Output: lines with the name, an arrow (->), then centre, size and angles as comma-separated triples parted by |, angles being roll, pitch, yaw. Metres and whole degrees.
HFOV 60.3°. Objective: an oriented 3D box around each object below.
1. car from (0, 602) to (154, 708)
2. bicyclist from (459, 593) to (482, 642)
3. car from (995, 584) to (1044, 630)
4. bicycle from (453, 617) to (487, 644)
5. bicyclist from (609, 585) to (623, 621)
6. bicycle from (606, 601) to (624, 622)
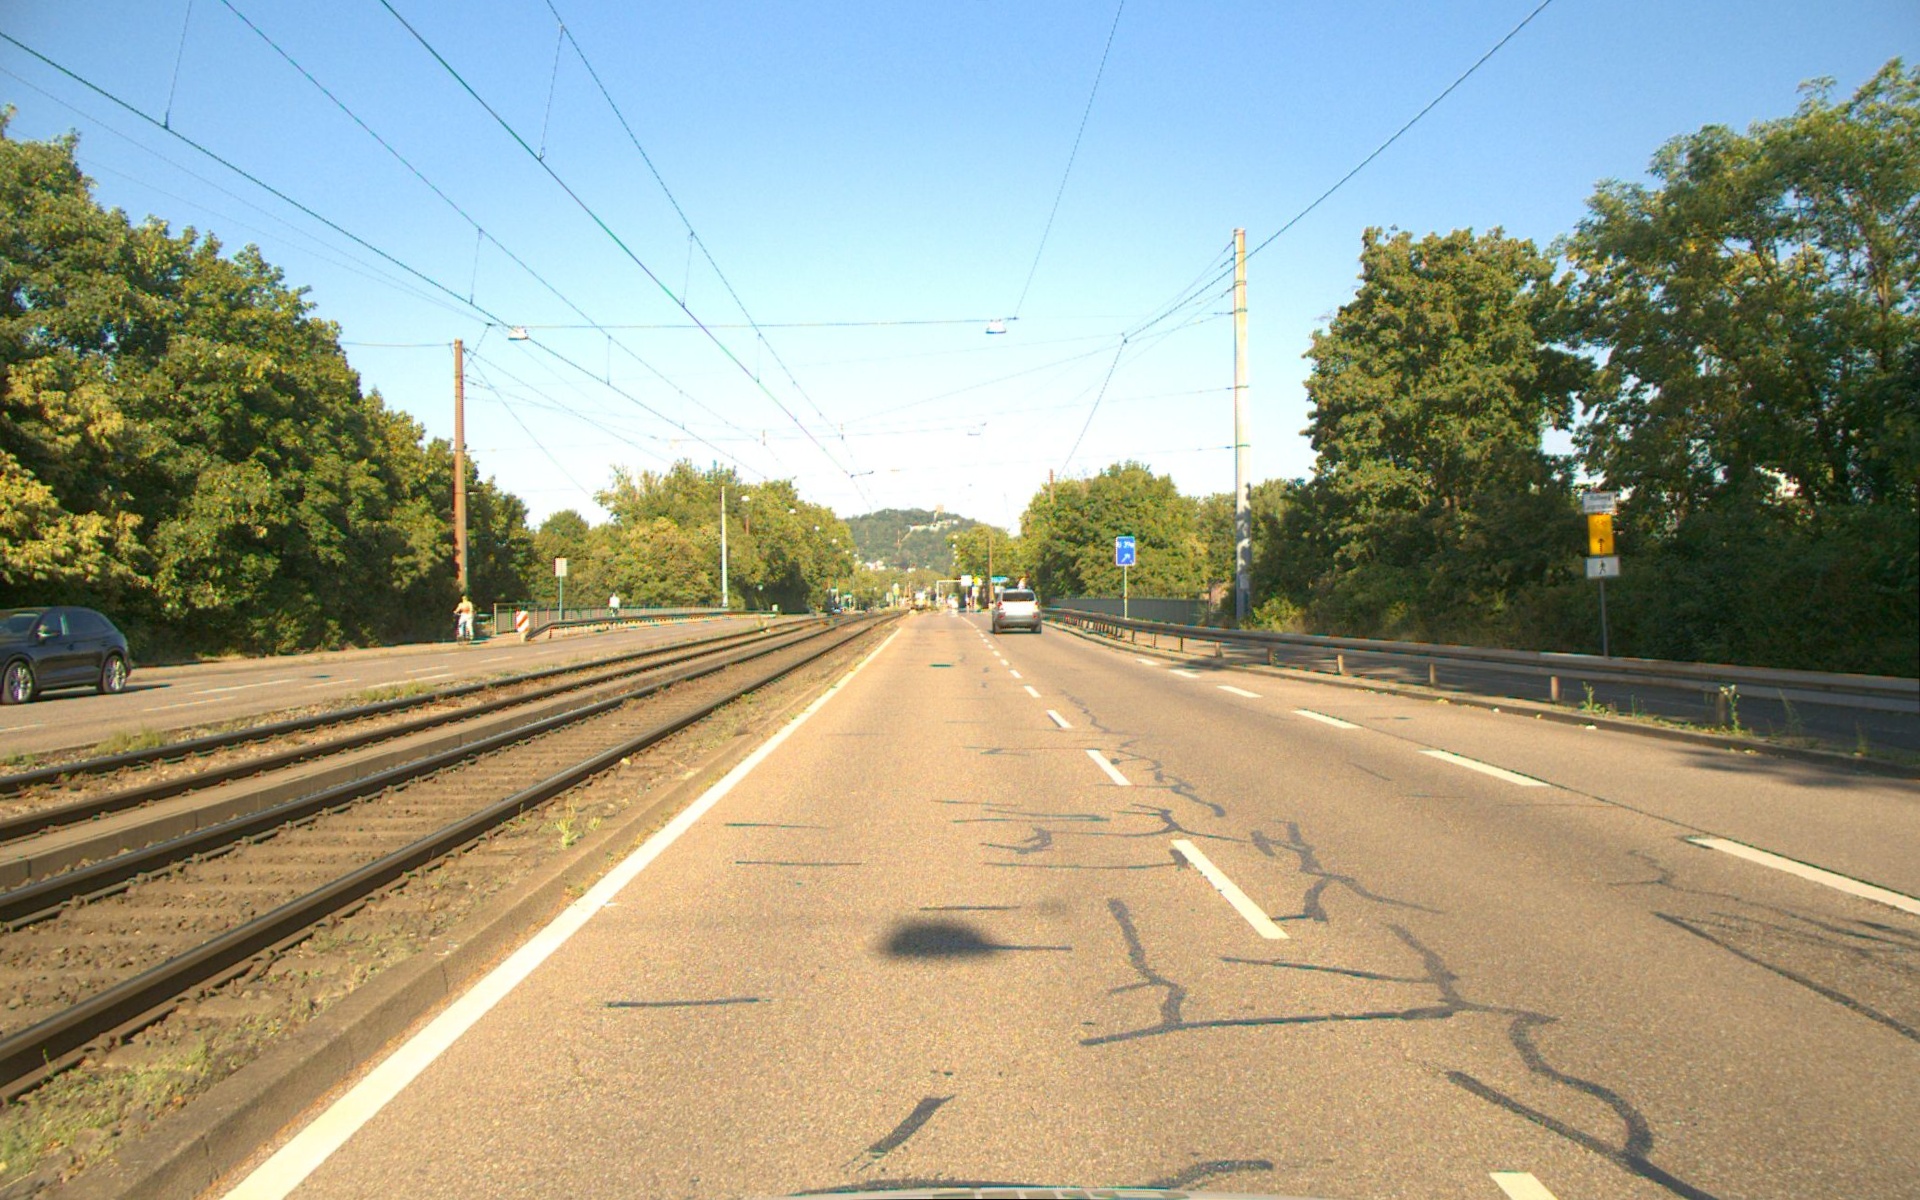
car -> -16.504, 0.931, 29.256 | 1.952, 1.715, 4.797 | -2, 0, 2
bicyclist -> -17.485, 0.625, 59.078 | 0.497, 1.716, 0.919 | 1, 0, 2
car -> 2.326, 0.267, 64.935 | 1.849, 1.723, 4.257 | 0, 0, 2
bicycle -> -17.495, 1.093, 59.088 | 0.497, 0.908, 2.028 | 1, 0, 2
bicyclist -> -18.287, 0.161, 87.844 | 0.529, 1.895, 0.875 | 1, 0, -1
bicycle -> -18.287, 0.591, 87.640 | 0.529, 1.061, 1.925 | 1, 0, -1
